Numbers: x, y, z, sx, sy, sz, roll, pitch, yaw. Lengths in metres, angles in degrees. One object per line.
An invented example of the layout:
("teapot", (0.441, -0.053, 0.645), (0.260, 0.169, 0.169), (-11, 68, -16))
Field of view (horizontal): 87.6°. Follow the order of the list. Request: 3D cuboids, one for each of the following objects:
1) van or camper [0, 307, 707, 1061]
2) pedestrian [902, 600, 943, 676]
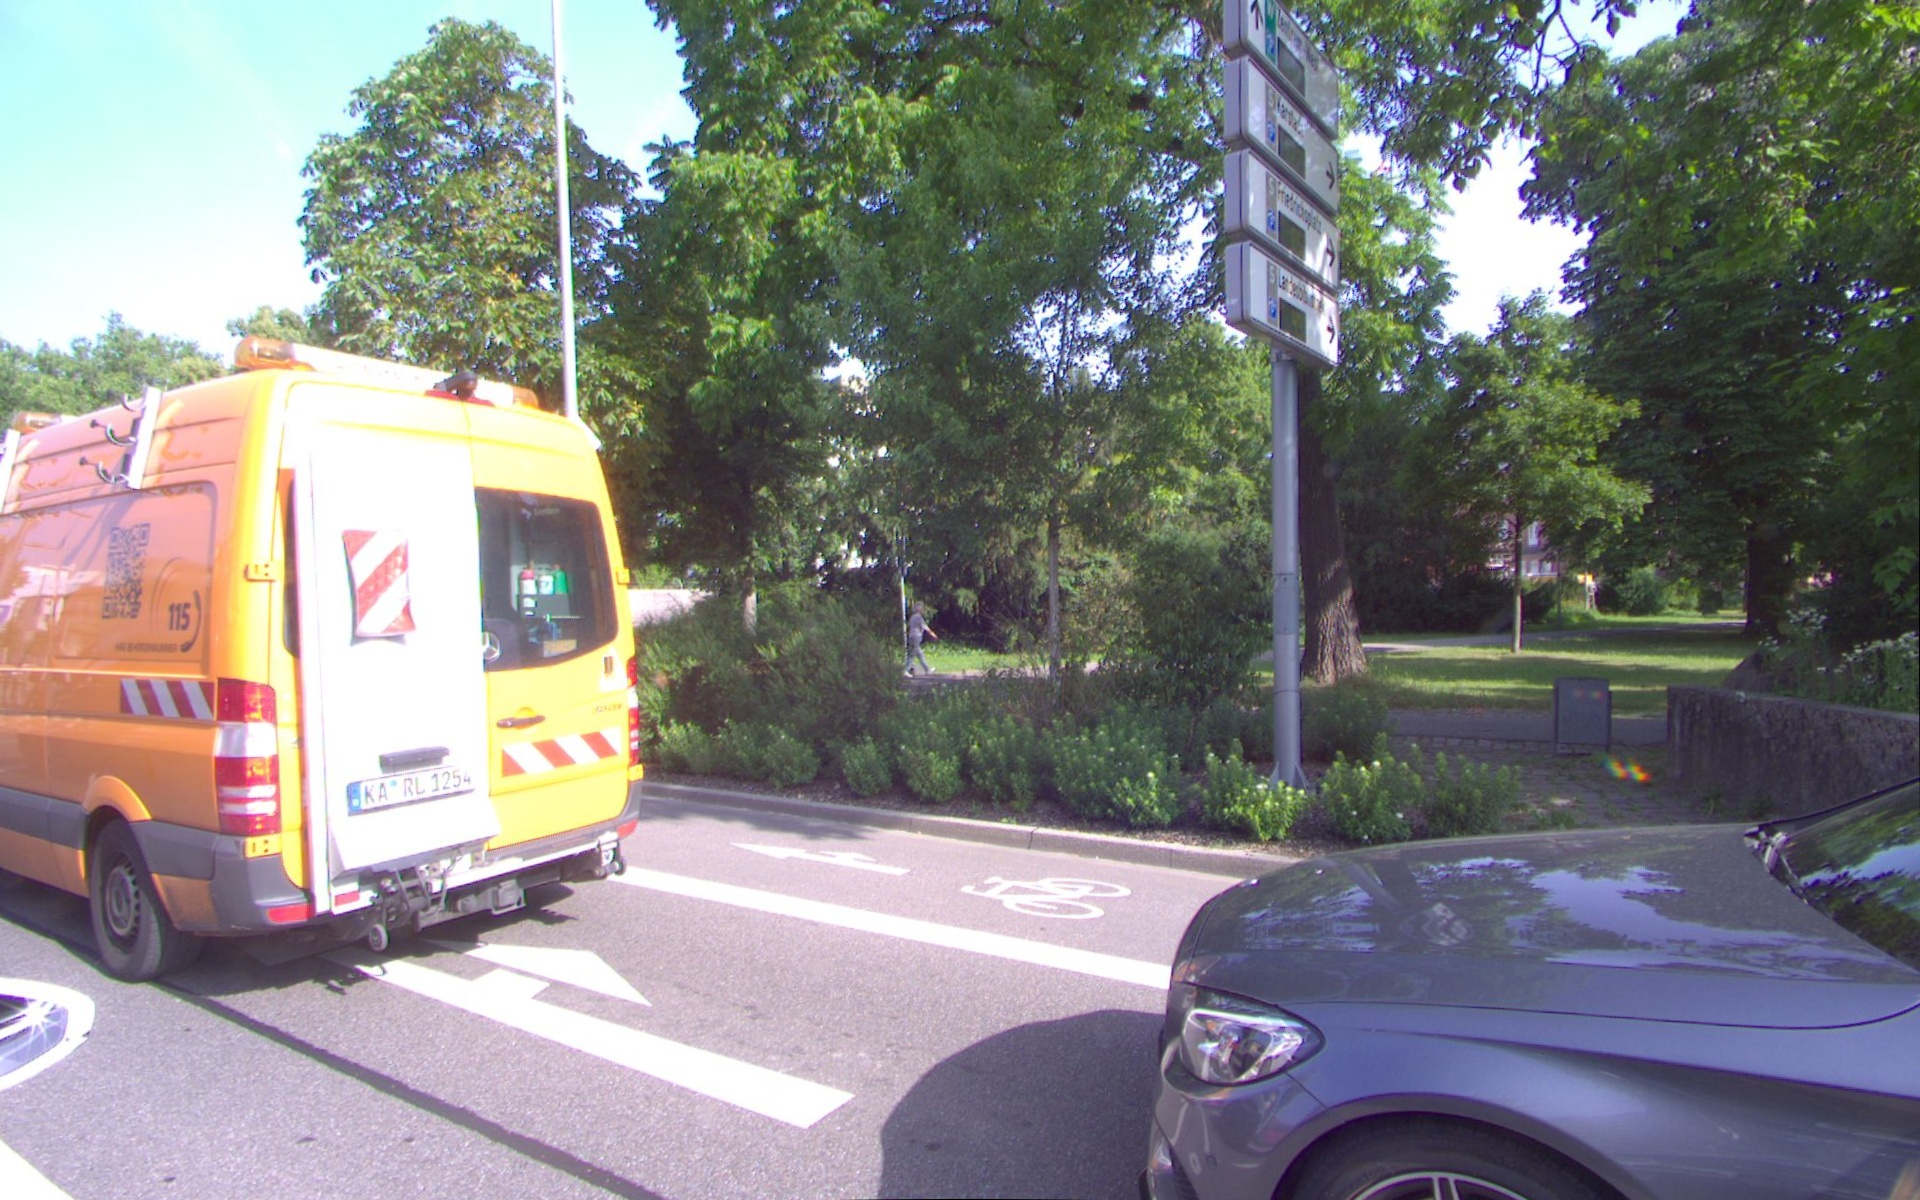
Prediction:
("van or camper", (-4.309, 0.365, 5.773), (5.975, 2.504, 1.982), (-1, -1, 32))
("pedestrian", (-0.781, 0.780, 20.699), (0.659, 1.538, 0.532), (-1, 1, -26))
